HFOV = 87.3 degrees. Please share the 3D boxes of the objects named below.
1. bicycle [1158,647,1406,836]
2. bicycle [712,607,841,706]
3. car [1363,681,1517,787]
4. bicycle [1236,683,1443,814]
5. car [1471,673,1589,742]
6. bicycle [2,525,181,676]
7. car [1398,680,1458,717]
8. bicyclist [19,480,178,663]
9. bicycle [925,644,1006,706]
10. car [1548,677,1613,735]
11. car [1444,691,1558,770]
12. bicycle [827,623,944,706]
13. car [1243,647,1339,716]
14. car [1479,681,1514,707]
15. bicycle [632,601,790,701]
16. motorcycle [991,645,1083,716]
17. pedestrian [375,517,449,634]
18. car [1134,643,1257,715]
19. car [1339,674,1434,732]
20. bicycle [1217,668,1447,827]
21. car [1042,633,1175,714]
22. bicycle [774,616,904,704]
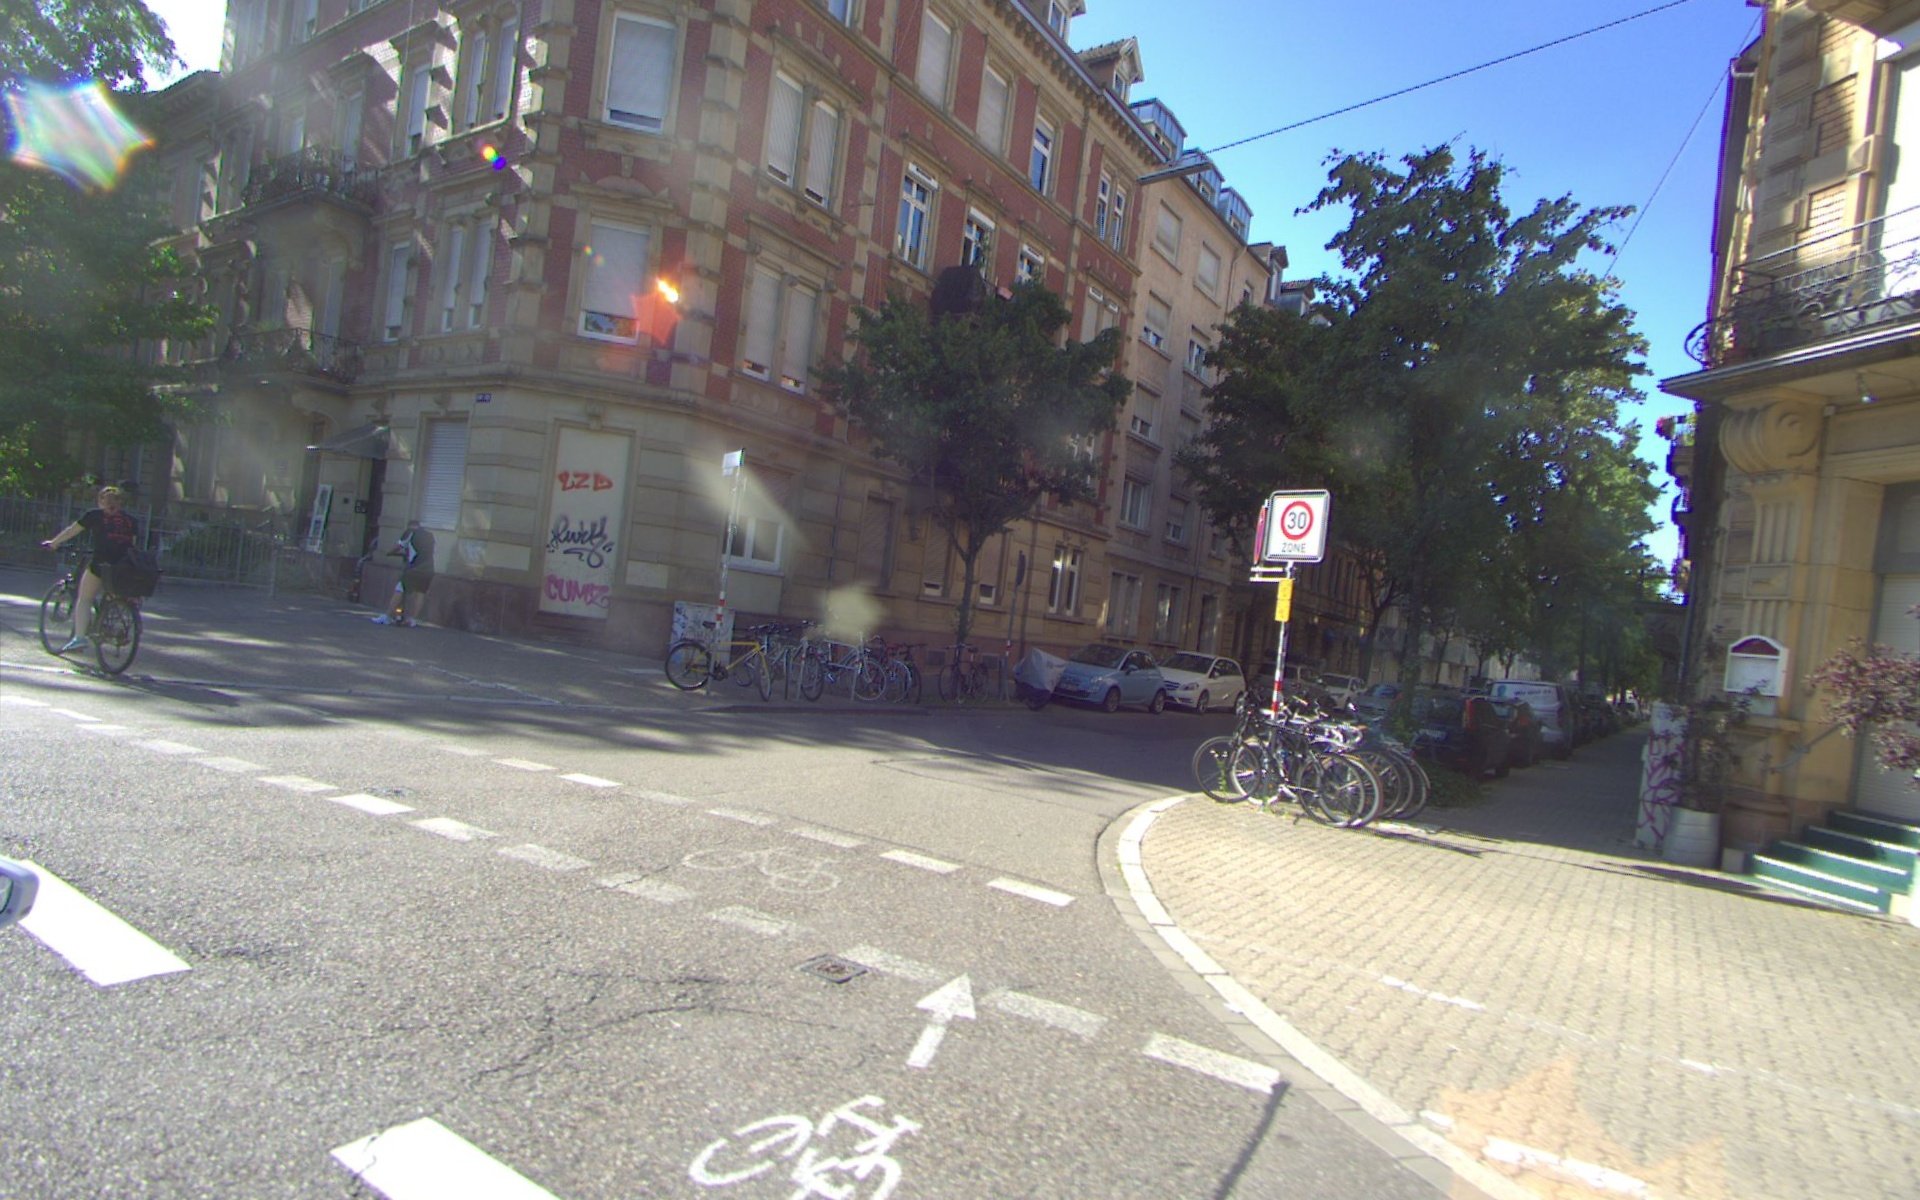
[{"bbox_3d":[3.041,1.293,9.617,2.033,1.414,0.579,7,0,32],"label":"bicycle"},{"bbox_3d":[-2.764,0.827,15.041,1.940,1.108,0.579,11,1,37],"label":"bicycle"},{"bbox_3d":[8.432,2.306,17.528,1.692,1.450,3.397,5,-3,37],"label":"car"},{"bbox_3d":[4.314,1.651,11.512,2.033,1.108,0.579,7,0,32],"label":"bicycle"},{"bbox_3d":[15.388,2.919,27.028,2.069,1.450,4.820,5,-3,37],"label":"car"},{"bbox_3d":[-8.495,-0.016,9.819,1.927,1.235,0.741,7,2,32],"label":"bicycle"},{"bbox_3d":[22.621,4.770,48.542,1.734,1.543,3.988,3,-4,37],"label":"car"},{"bbox_3d":[-8.438,-0.278,9.857,1.082,1.599,0.743,8,0,32],"label":"bicyclist"},{"bbox_3d":[0.129,1.392,18.683,0.552,1.002,1.836,12,2,29],"label":"bicycle"},{"bbox_3d":[29.692,5.107,48.085,2.069,2.403,4.820,5,-2,37],"label":"car"},{"bbox_3d":[12.241,2.921,22.676,1.692,1.450,3.397,5,-3,37],"label":"car"},{"bbox_3d":[-1.310,1.103,17.415,2.000,1.145,0.560,7,0,35],"label":"bicycle"},{"bbox_3d":[11.554,2.865,34.938,1.733,1.983,3.988,8,-1,37],"label":"car"},{"bbox_3d":[42.097,7.379,78.846,1.734,1.684,3.988,3,-4,37],"label":"car"},{"bbox_3d":[-3.375,0.693,13.747,1.940,1.108,0.693,7,0,-13],"label":"bicycle"},{"bbox_3d":[1.573,1.658,21.147,0.985,1.299,2.407,6,-3,-17],"label":"motorcycle"},{"bbox_3d":[-9.004,-0.397,16.540,0.740,1.836,0.656,4,-2,35],"label":"pedestrian"},{"bbox_3d":[6.555,2.216,27.650,1.539,1.529,4.227,11,1,37],"label":"car"},{"bbox_3d":[13.091,3.163,30.782,1.967,1.395,3.994,6,-2,32],"label":"car"},{"bbox_3d":[3.814,1.474,10.414,2.033,1.250,0.579,7,0,32],"label":"bicycle"},{"bbox_3d":[3.511,1.752,23.485,1.539,1.486,3.244,10,0,37],"label":"car"},{"bbox_3d":[-1.973,0.957,16.231,2.000,1.145,0.727,7,0,35],"label":"bicycle"}]
